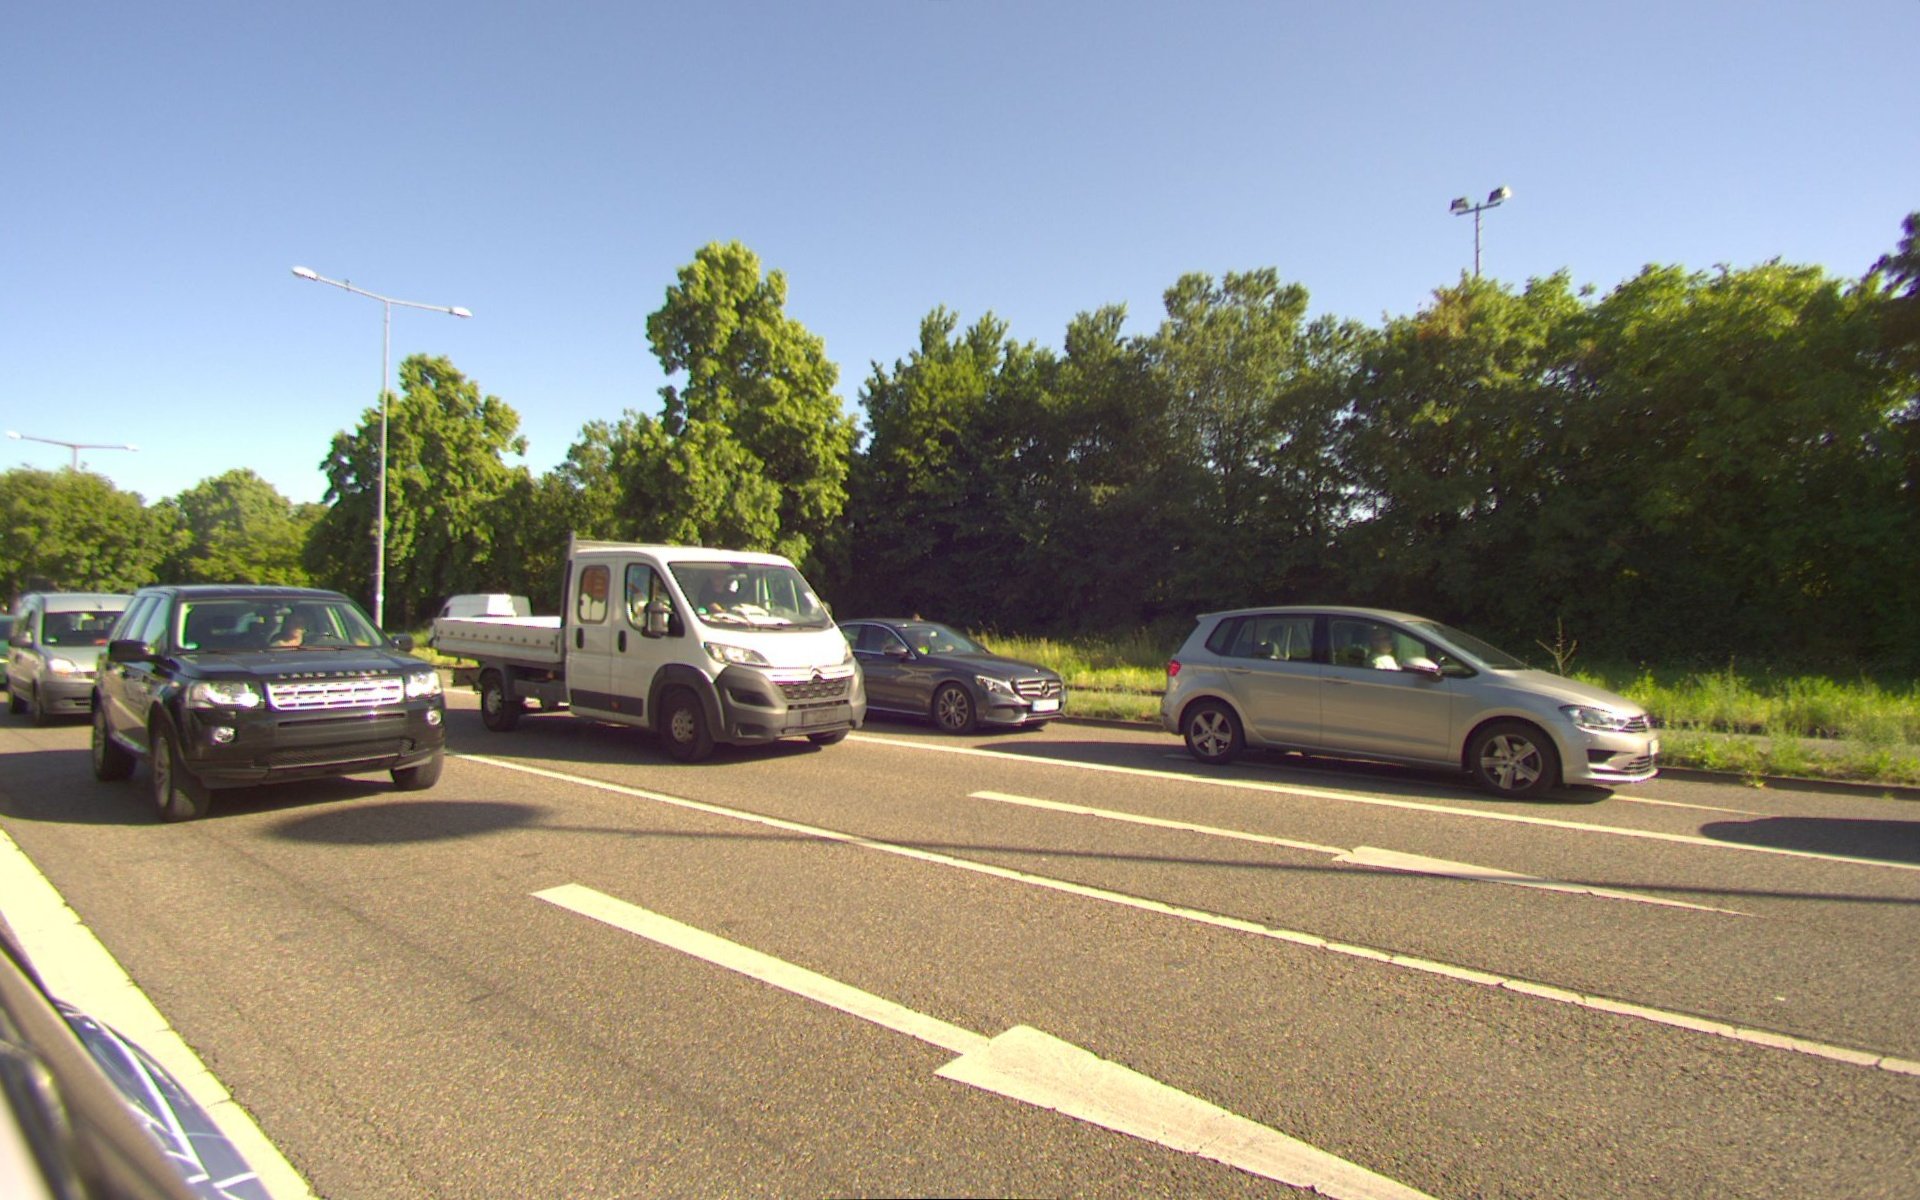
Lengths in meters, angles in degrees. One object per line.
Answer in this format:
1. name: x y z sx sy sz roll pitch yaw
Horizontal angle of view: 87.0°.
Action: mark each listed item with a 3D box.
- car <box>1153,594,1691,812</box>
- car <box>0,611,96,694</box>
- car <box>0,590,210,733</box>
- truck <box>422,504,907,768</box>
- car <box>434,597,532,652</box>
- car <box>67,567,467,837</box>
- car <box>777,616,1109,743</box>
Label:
1. car: 4.141 0.794 9.477 4.241 1.587 1.854 -1 -2 41
2. car: -18.917 0.995 20.328 4.365 1.497 1.894 -1 0 43
3. car: -12.406 0.762 14.515 4.365 1.741 1.894 -1 0 43
4. truck: -3.824 0.387 11.990 6.770 2.327 2.162 -1 -2 41
5. car: -19.513 0.971 41.349 4.535 2.100 1.893 -1 0 40
6. car: -5.996 0.672 8.531 4.391 1.697 1.802 -1 -1 42
7. car: -0.350 0.942 13.524 4.353 1.415 1.811 -1 -2 41
